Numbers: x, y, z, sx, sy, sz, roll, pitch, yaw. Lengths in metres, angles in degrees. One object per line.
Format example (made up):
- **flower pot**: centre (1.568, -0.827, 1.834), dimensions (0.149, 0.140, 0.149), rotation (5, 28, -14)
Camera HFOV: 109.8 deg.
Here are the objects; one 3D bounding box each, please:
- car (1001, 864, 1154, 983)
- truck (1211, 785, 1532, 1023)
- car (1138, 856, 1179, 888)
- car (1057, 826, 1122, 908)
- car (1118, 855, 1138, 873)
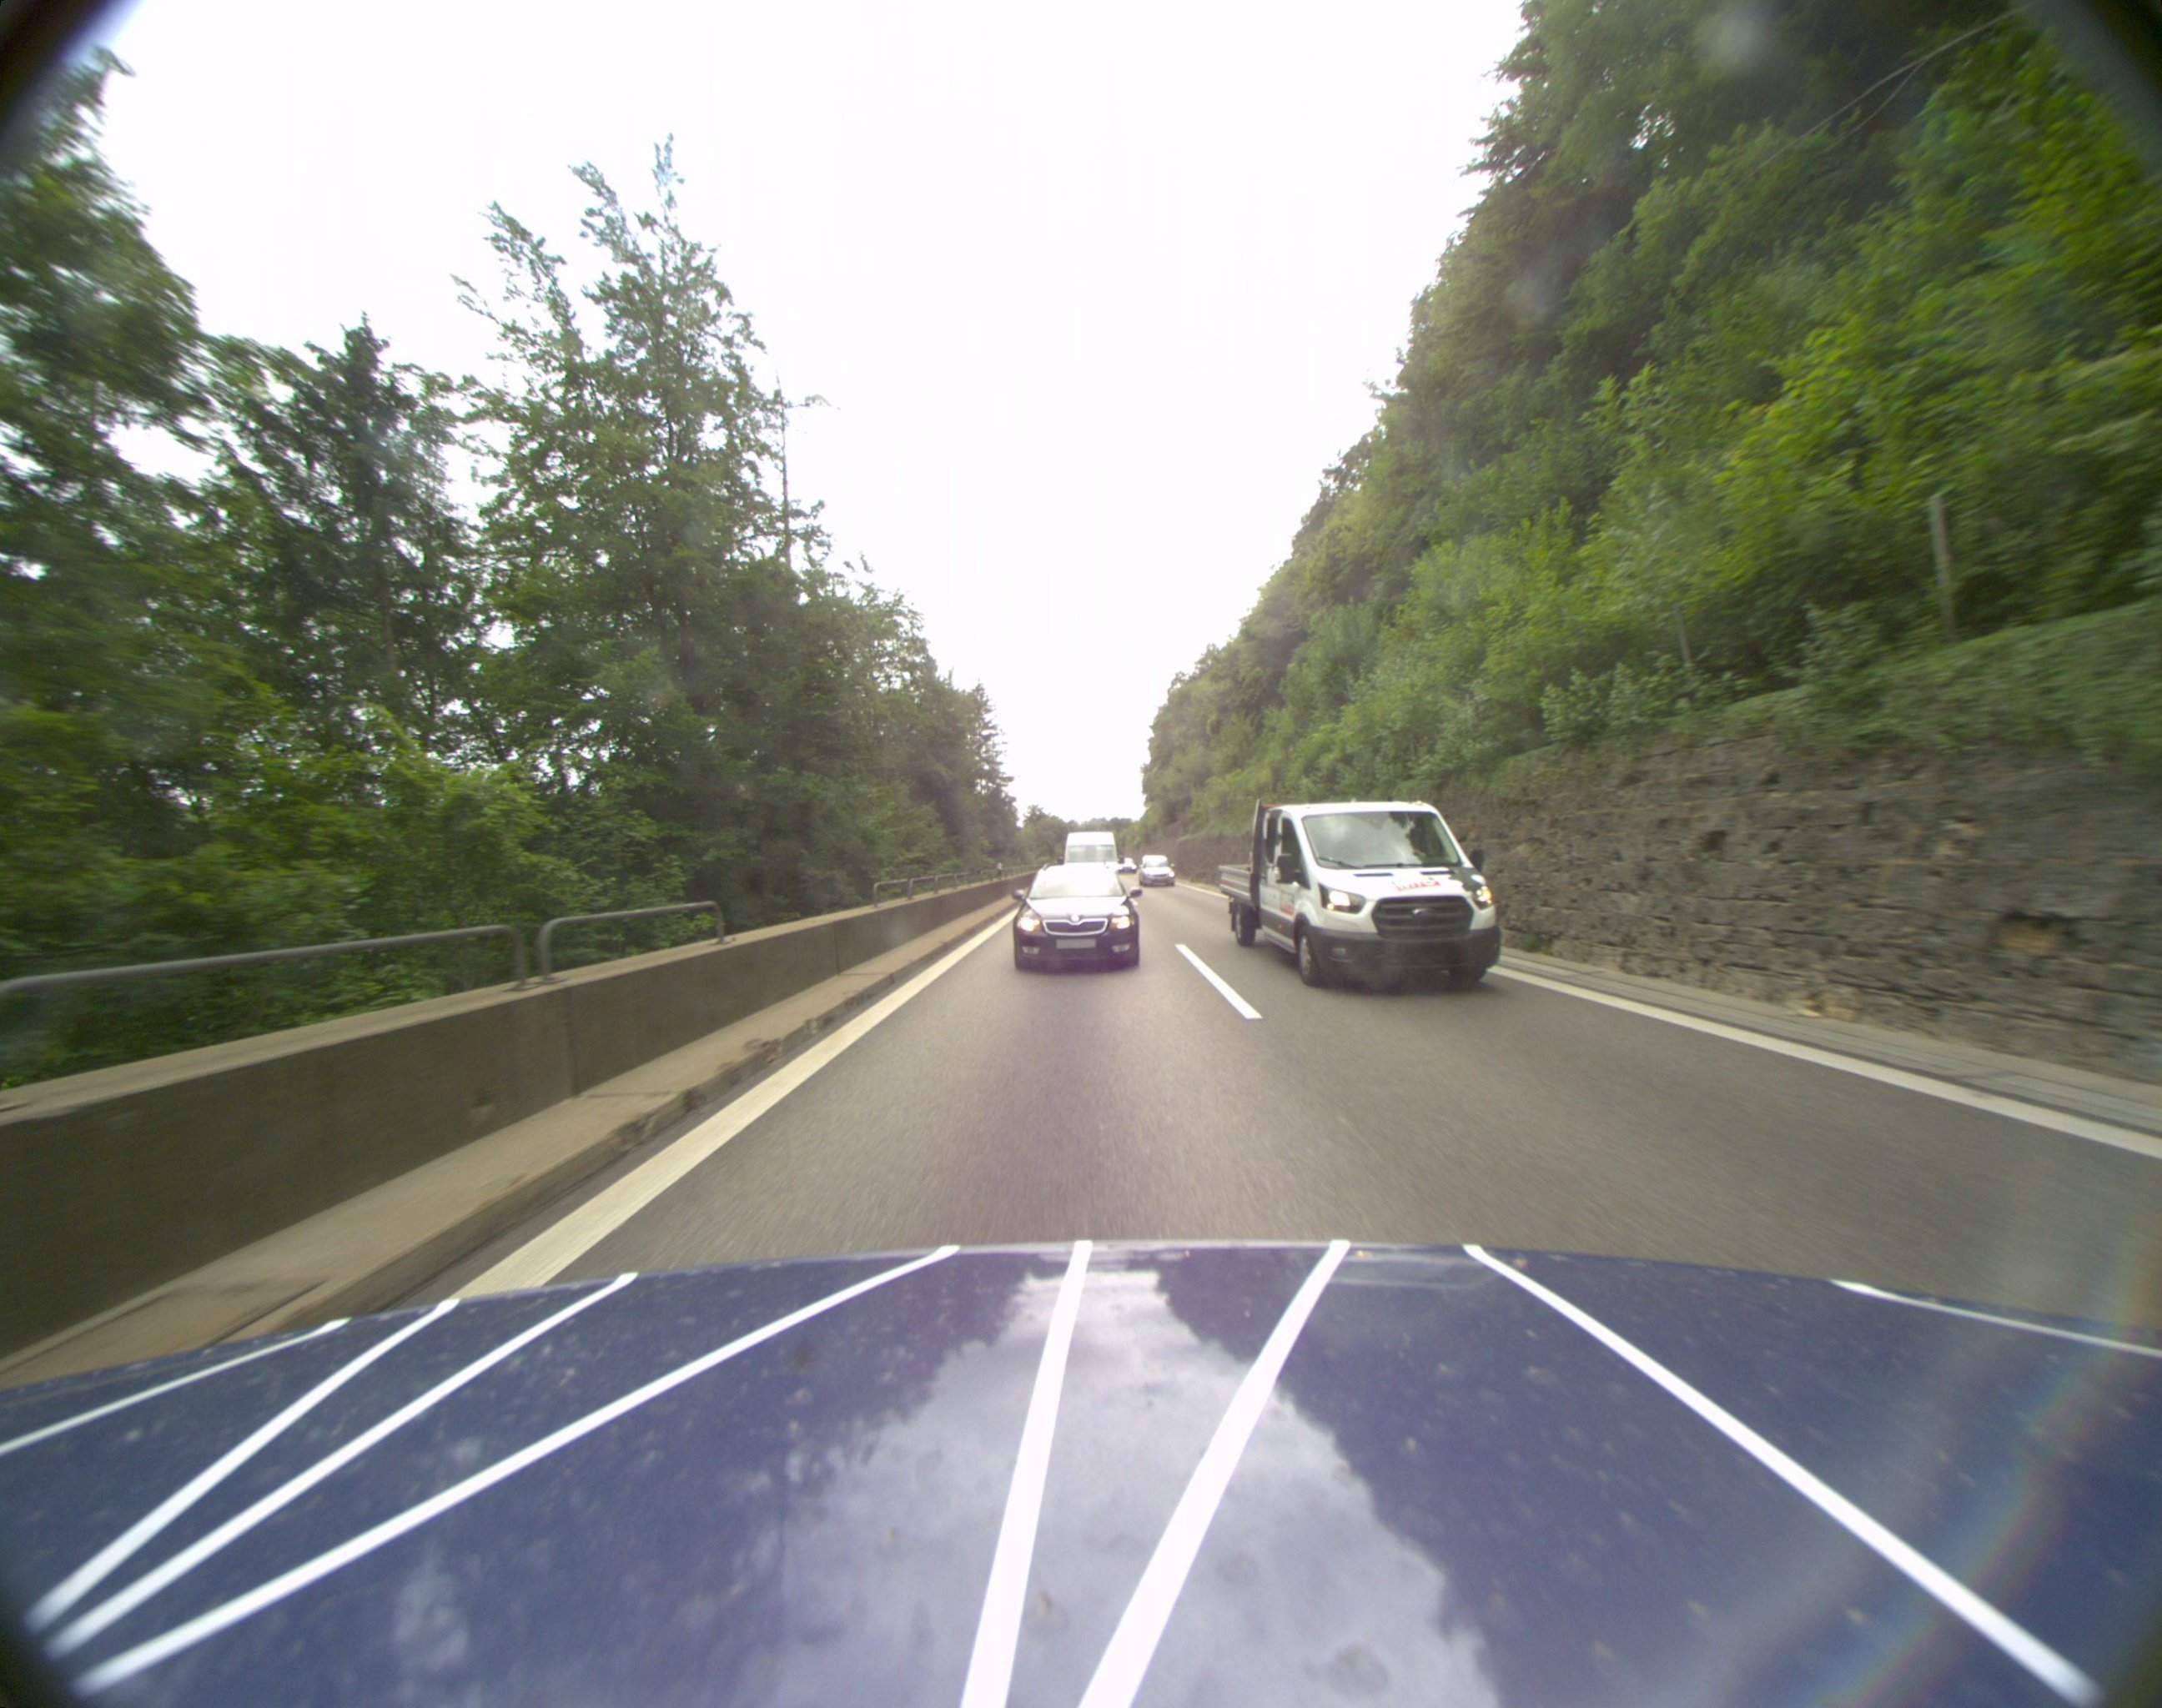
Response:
- **car**: centre (-0.093, 0.932, 12.680), dimensions (1.913, 1.391, 5.696), rotation (-3, 0, -1)
- **truck**: centre (3.423, 0.500, 10.762), dimensions (1.998, 2.266, 6.586), rotation (-2, 0, 1)
- **car**: centre (4.118, 0.929, 40.930), dimensions (1.711, 1.568, 4.602), rotation (-2, 0, 1)
- **car**: centre (0.421, 0.390, 26.954), dimensions (1.998, 2.550, 5.919), rotation (-1, 1, 3)
- **car**: centre (4.511, 0.924, 73.362), dimensions (1.711, 1.568, 4.602), rotation (-2, 0, 1)
